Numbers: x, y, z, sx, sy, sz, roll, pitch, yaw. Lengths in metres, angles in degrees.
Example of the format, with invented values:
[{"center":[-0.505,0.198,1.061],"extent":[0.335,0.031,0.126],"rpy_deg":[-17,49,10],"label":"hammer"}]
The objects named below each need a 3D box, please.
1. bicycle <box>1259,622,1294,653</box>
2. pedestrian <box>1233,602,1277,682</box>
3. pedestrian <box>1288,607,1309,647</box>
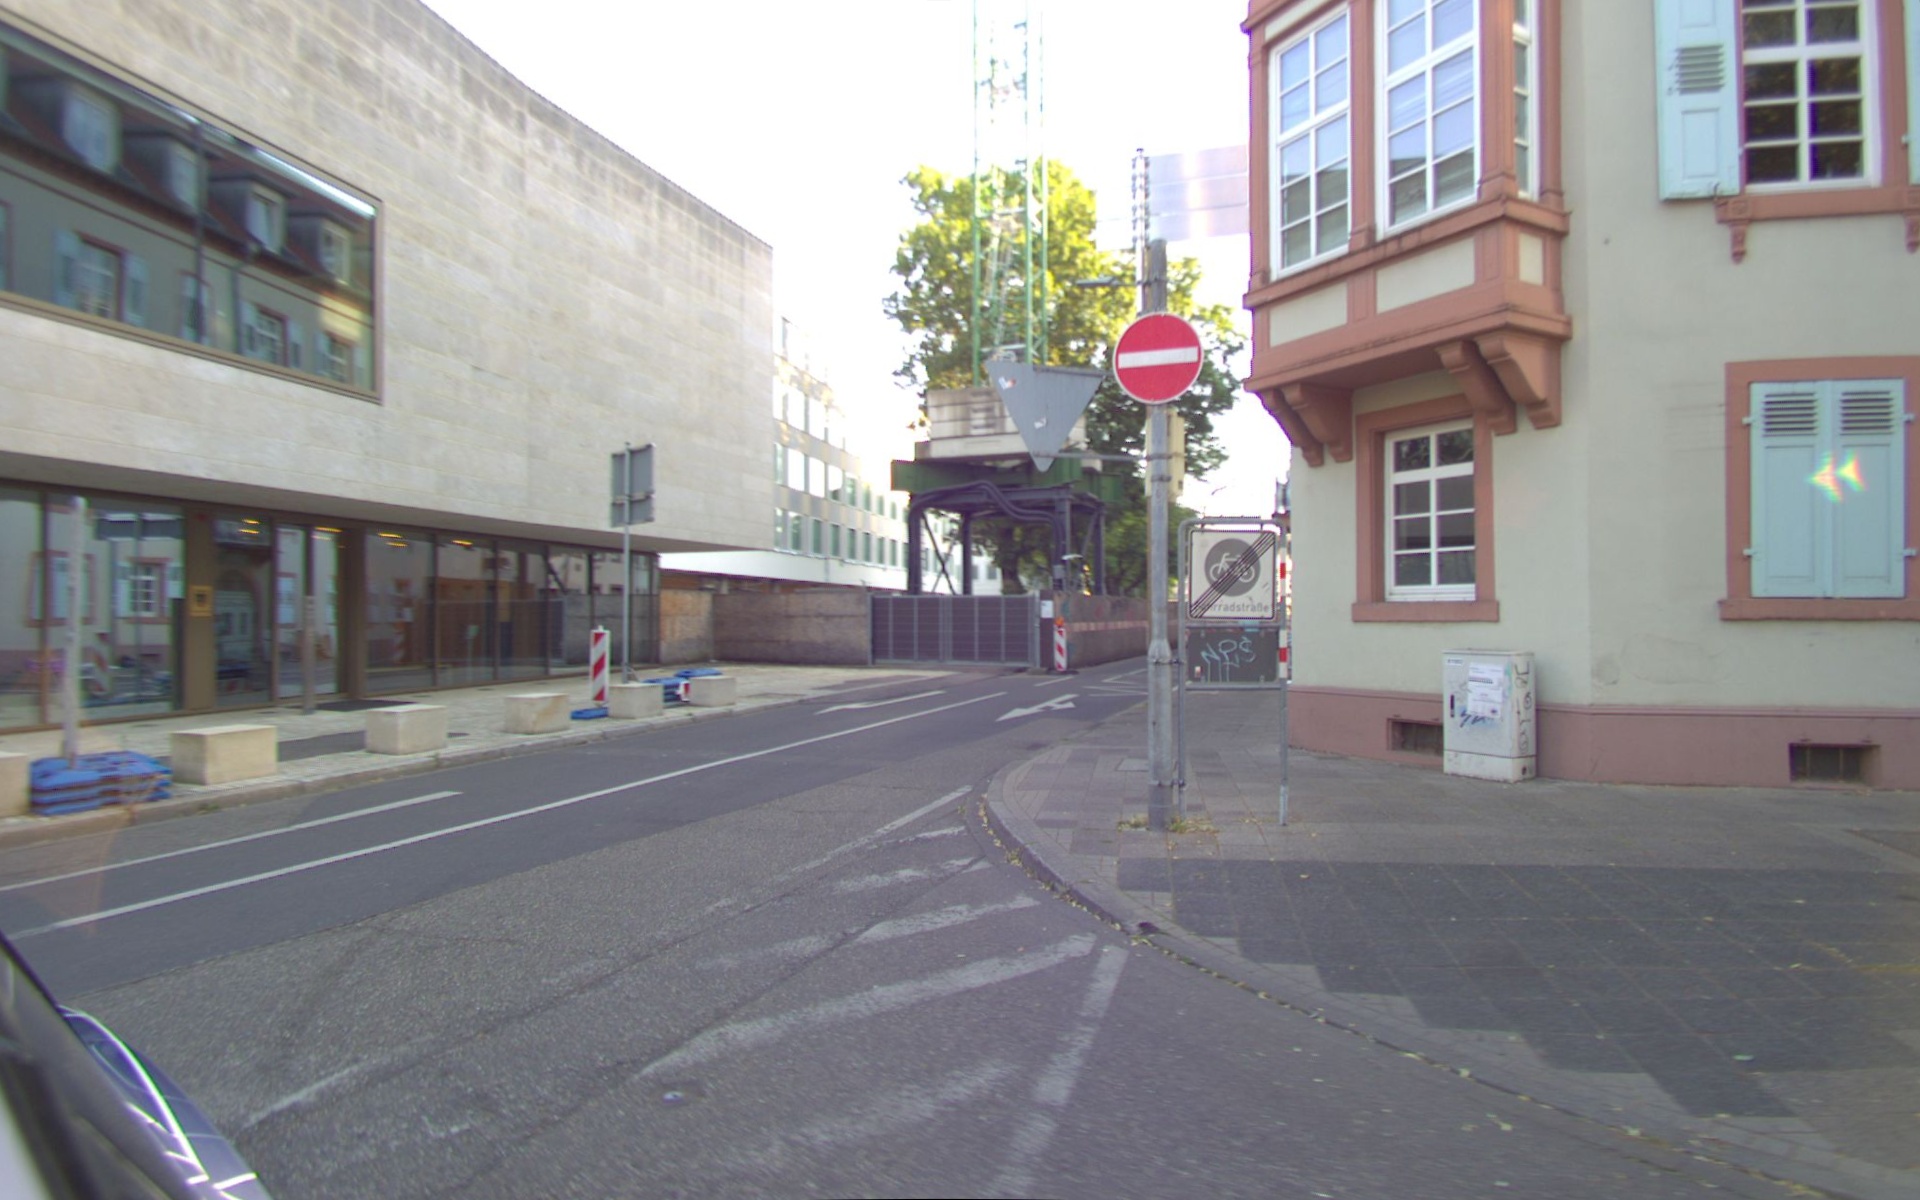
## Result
[{"center":[12.631,1.503,40.375],"extent":[1.584,1.179,0.661],"rpy_deg":[0,-2,-45],"label":"bicycle"},{"center":[6.597,0.940,22.600],"extent":[0.820,1.710,0.645],"rpy_deg":[-4,-3,19],"label":"pedestrian"},{"center":[14.964,1.192,44.748],"extent":[0.820,1.710,0.645],"rpy_deg":[-2,-2,19],"label":"pedestrian"}]
